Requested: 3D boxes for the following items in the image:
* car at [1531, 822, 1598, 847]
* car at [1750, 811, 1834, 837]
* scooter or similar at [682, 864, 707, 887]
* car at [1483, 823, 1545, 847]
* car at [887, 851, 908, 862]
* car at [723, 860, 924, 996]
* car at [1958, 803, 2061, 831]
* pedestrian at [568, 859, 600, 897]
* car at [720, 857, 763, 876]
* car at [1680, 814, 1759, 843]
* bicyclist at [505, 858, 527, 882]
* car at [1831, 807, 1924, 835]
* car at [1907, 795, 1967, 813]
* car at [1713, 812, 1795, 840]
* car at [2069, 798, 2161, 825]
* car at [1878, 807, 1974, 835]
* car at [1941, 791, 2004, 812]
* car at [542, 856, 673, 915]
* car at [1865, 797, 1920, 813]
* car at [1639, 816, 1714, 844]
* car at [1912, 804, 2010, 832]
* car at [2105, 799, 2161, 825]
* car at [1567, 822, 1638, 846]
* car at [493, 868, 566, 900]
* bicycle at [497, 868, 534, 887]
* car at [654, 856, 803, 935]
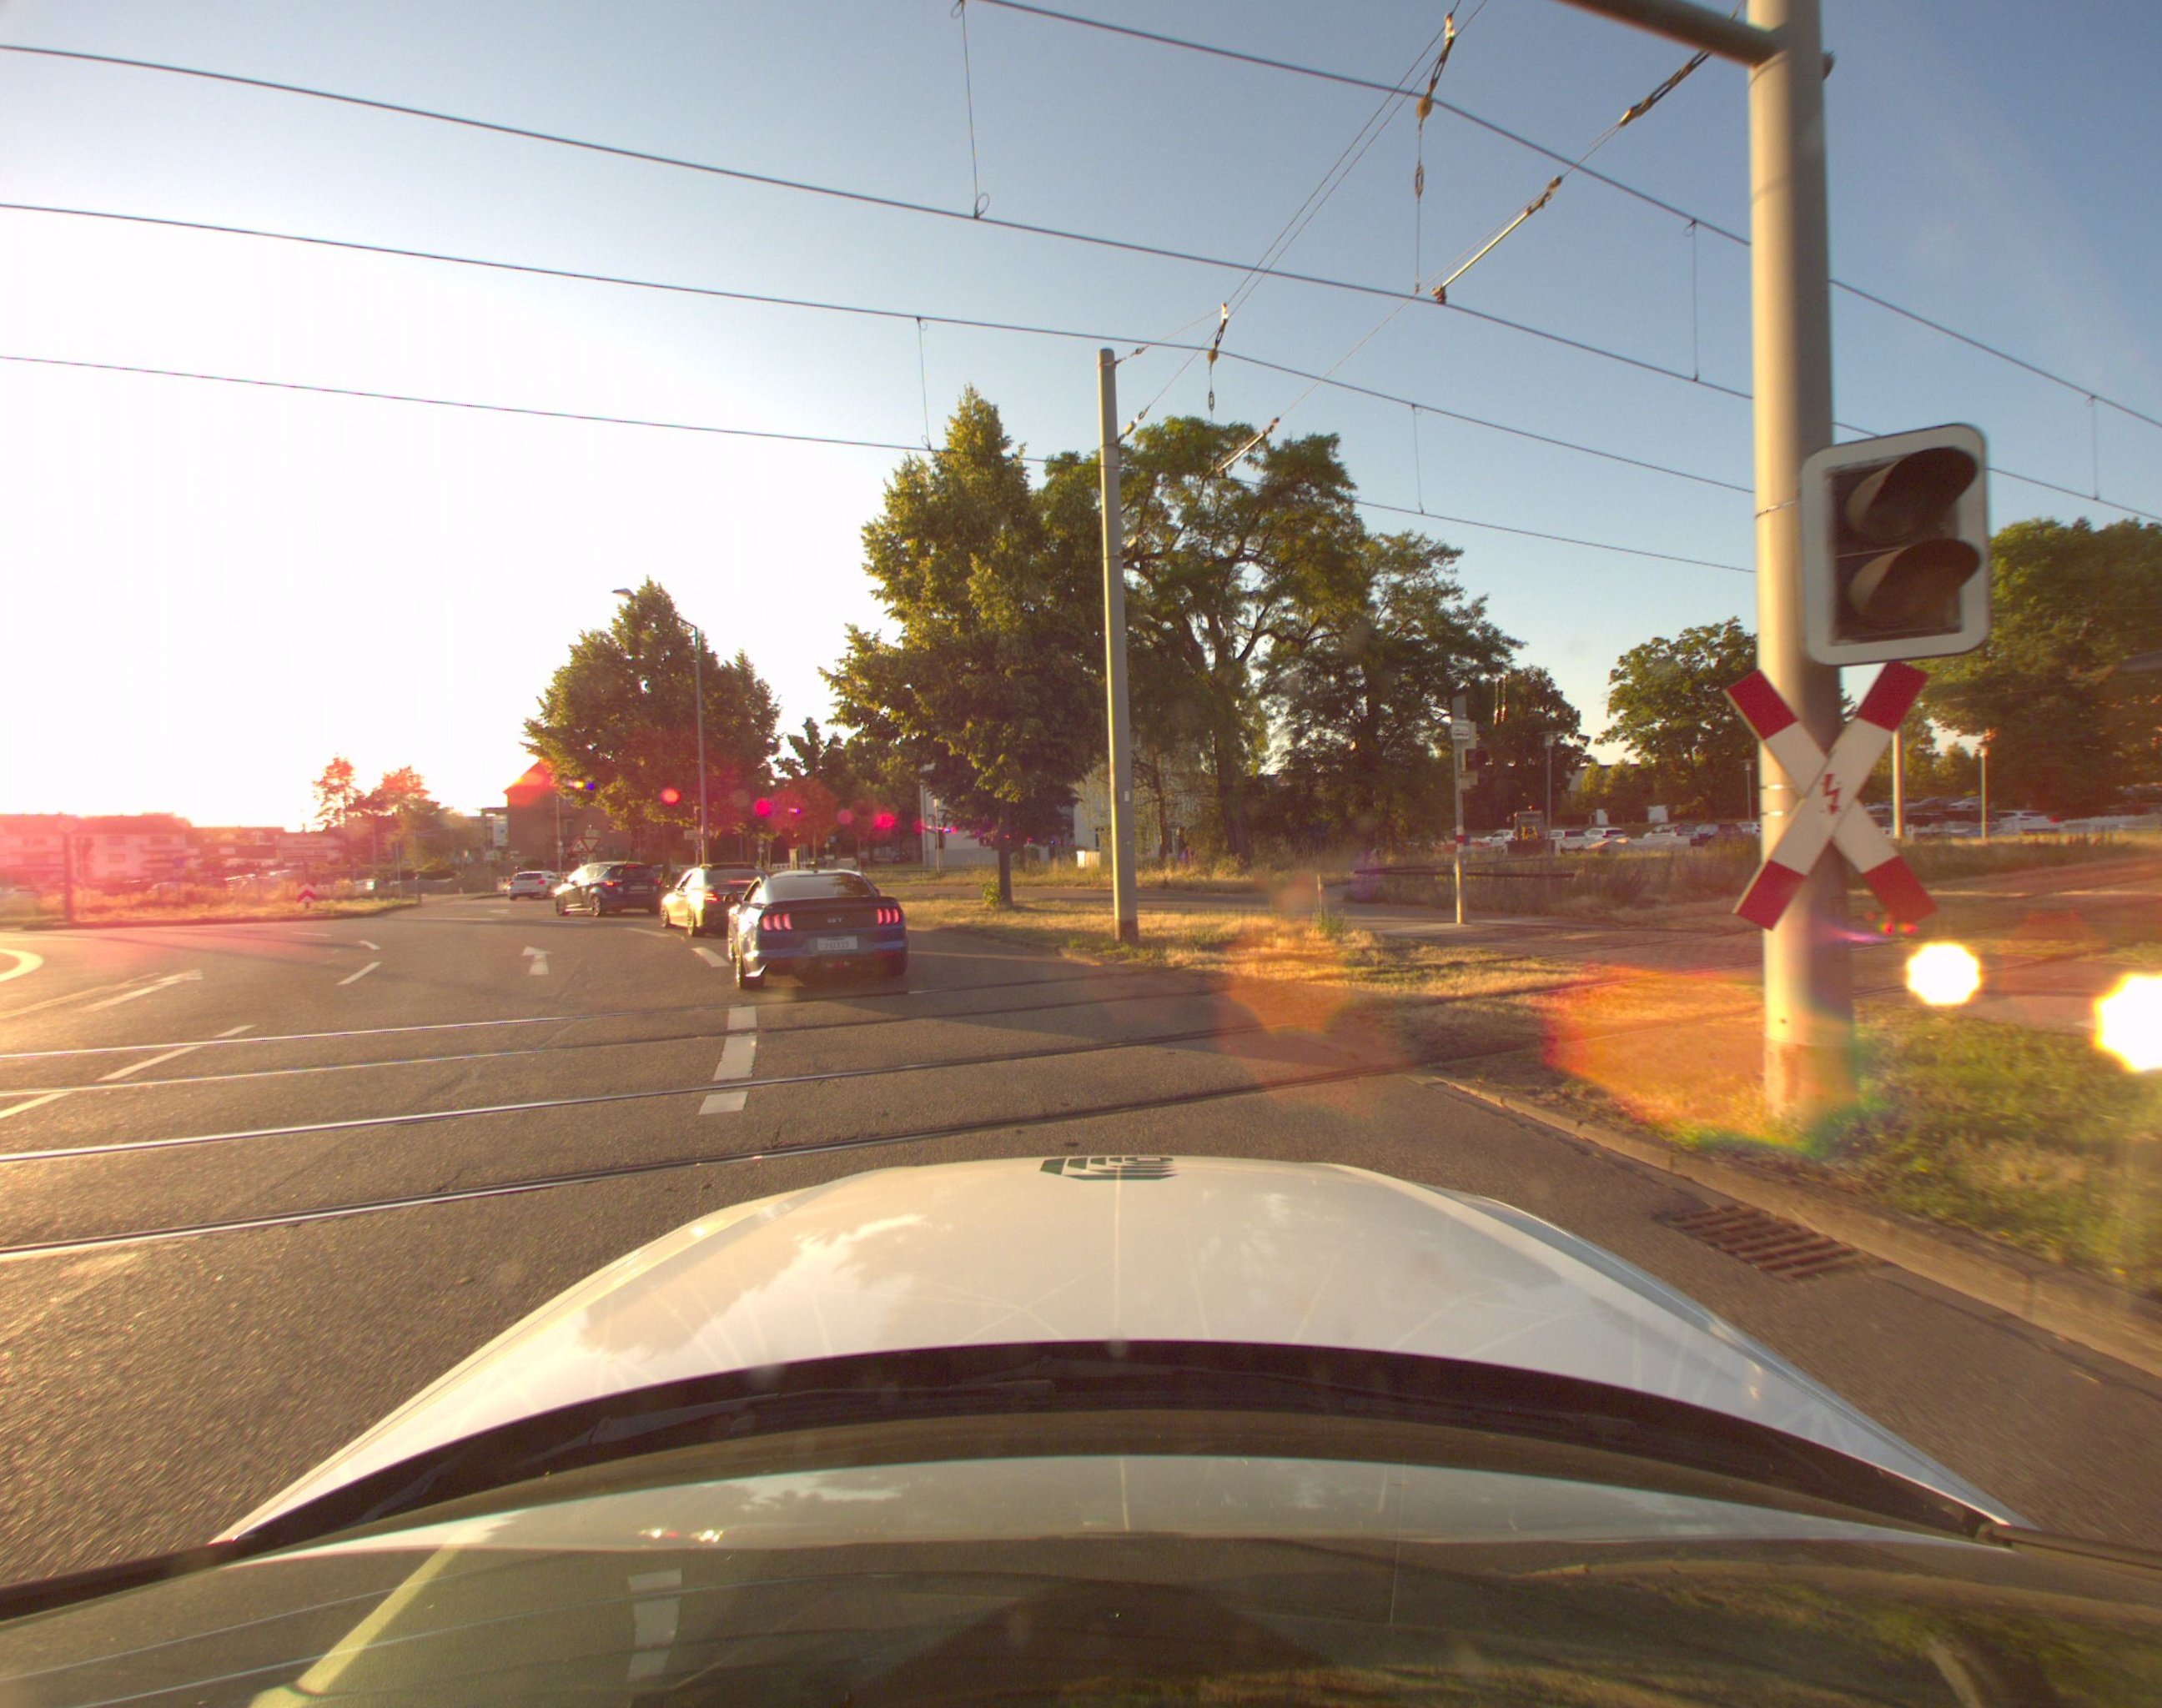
[{"bbox_3d":[31.263,-1.247,52.752,1.940,1.445,3.999,-2,1,0],"label":"car"},{"bbox_3d":[45.809,-1.907,52.581,1.891,1.553,3.999,-2,1,0],"label":"car"},{"bbox_3d":[-21.803,1.191,45.968,0.437,1.238,1.130,-2,0,42],"label":"scooter or similar"},{"bbox_3d":[28.223,-1.207,53.218,1.940,1.445,3.999,-2,1,0],"label":"car"},{"bbox_3d":[-25.109,0.314,111.697,1.869,1.401,3.918,-2,1,1],"label":"car"},{"bbox_3d":[-3.666,0.783,10.938,1.961,1.342,4.632,-1,0,-25],"label":"car"},{"bbox_3d":[58.316,-2.310,51.257,1.891,1.553,3.999,-2,1,0],"label":"car"},{"bbox_3d":[-22.915,1.113,37.568,0.879,1.686,0.848,-2,0,9],"label":"pedestrian"},{"bbox_3d":[-28.623,1.037,68.727,1.869,1.401,3.918,-2,1,1],"label":"car"},{"bbox_3d":[40.942,-1.608,52.351,1.940,1.662,3.999,-2,1,0],"label":"car"},{"bbox_3d":[-39.864,1.119,57.449,0.749,1.612,0.979,-2,0,4],"label":"bicyclist"},{"bbox_3d":[50.615,-2.075,51.857,1.891,1.553,4.098,-2,1,0],"label":"car"},{"bbox_3d":[87.893,-5.136,83.660,3.970,1.553,1.905,-2,1,3],"label":"car"},{"bbox_3d":[43.151,-1.748,52.322,1.940,1.662,3.999,-2,1,0],"label":"car"},{"bbox_3d":[65.194,-2.646,50.957,1.891,1.553,3.999,-2,1,0],"label":"car"},{"bbox_3d":[53.272,-2.071,51.468,1.891,1.553,3.999,-2,1,0],"label":"car"},{"bbox_3d":[87.694,-5.153,80.168,3.971,1.744,2.002,-2,2,2],"label":"car"},{"bbox_3d":[-14.413,0.942,24.728,4.024,1.602,1.970,-2,0,37],"label":"car"},{"bbox_3d":[88.242,-5.329,88.611,3.970,1.553,1.905,-2,1,3],"label":"car"},{"bbox_3d":[38.607,-1.527,52.946,1.940,1.662,3.999,-2,1,0],"label":"car"},{"bbox_3d":[55.464,-2.260,51.440,1.891,1.553,3.999,-2,1,0],"label":"car"},{"bbox_3d":[67.646,-2.655,51.027,1.891,1.553,3.999,-2,1,0],"label":"car"},{"bbox_3d":[33.428,-1.267,52.340,1.940,1.445,3.999,-2,1,0],"label":"car"},{"bbox_3d":[-28.216,1.487,41.819,1.879,1.401,3.897,-1,1,-15],"label":"car"},{"bbox_3d":[-39.866,1.653,57.456,0.749,1.167,2.412,-2,1,4],"label":"bicycle"},{"bbox_3d":[-7.667,0.816,17.466,1.966,1.427,4.380,-1,0,-37],"label":"car"}]
